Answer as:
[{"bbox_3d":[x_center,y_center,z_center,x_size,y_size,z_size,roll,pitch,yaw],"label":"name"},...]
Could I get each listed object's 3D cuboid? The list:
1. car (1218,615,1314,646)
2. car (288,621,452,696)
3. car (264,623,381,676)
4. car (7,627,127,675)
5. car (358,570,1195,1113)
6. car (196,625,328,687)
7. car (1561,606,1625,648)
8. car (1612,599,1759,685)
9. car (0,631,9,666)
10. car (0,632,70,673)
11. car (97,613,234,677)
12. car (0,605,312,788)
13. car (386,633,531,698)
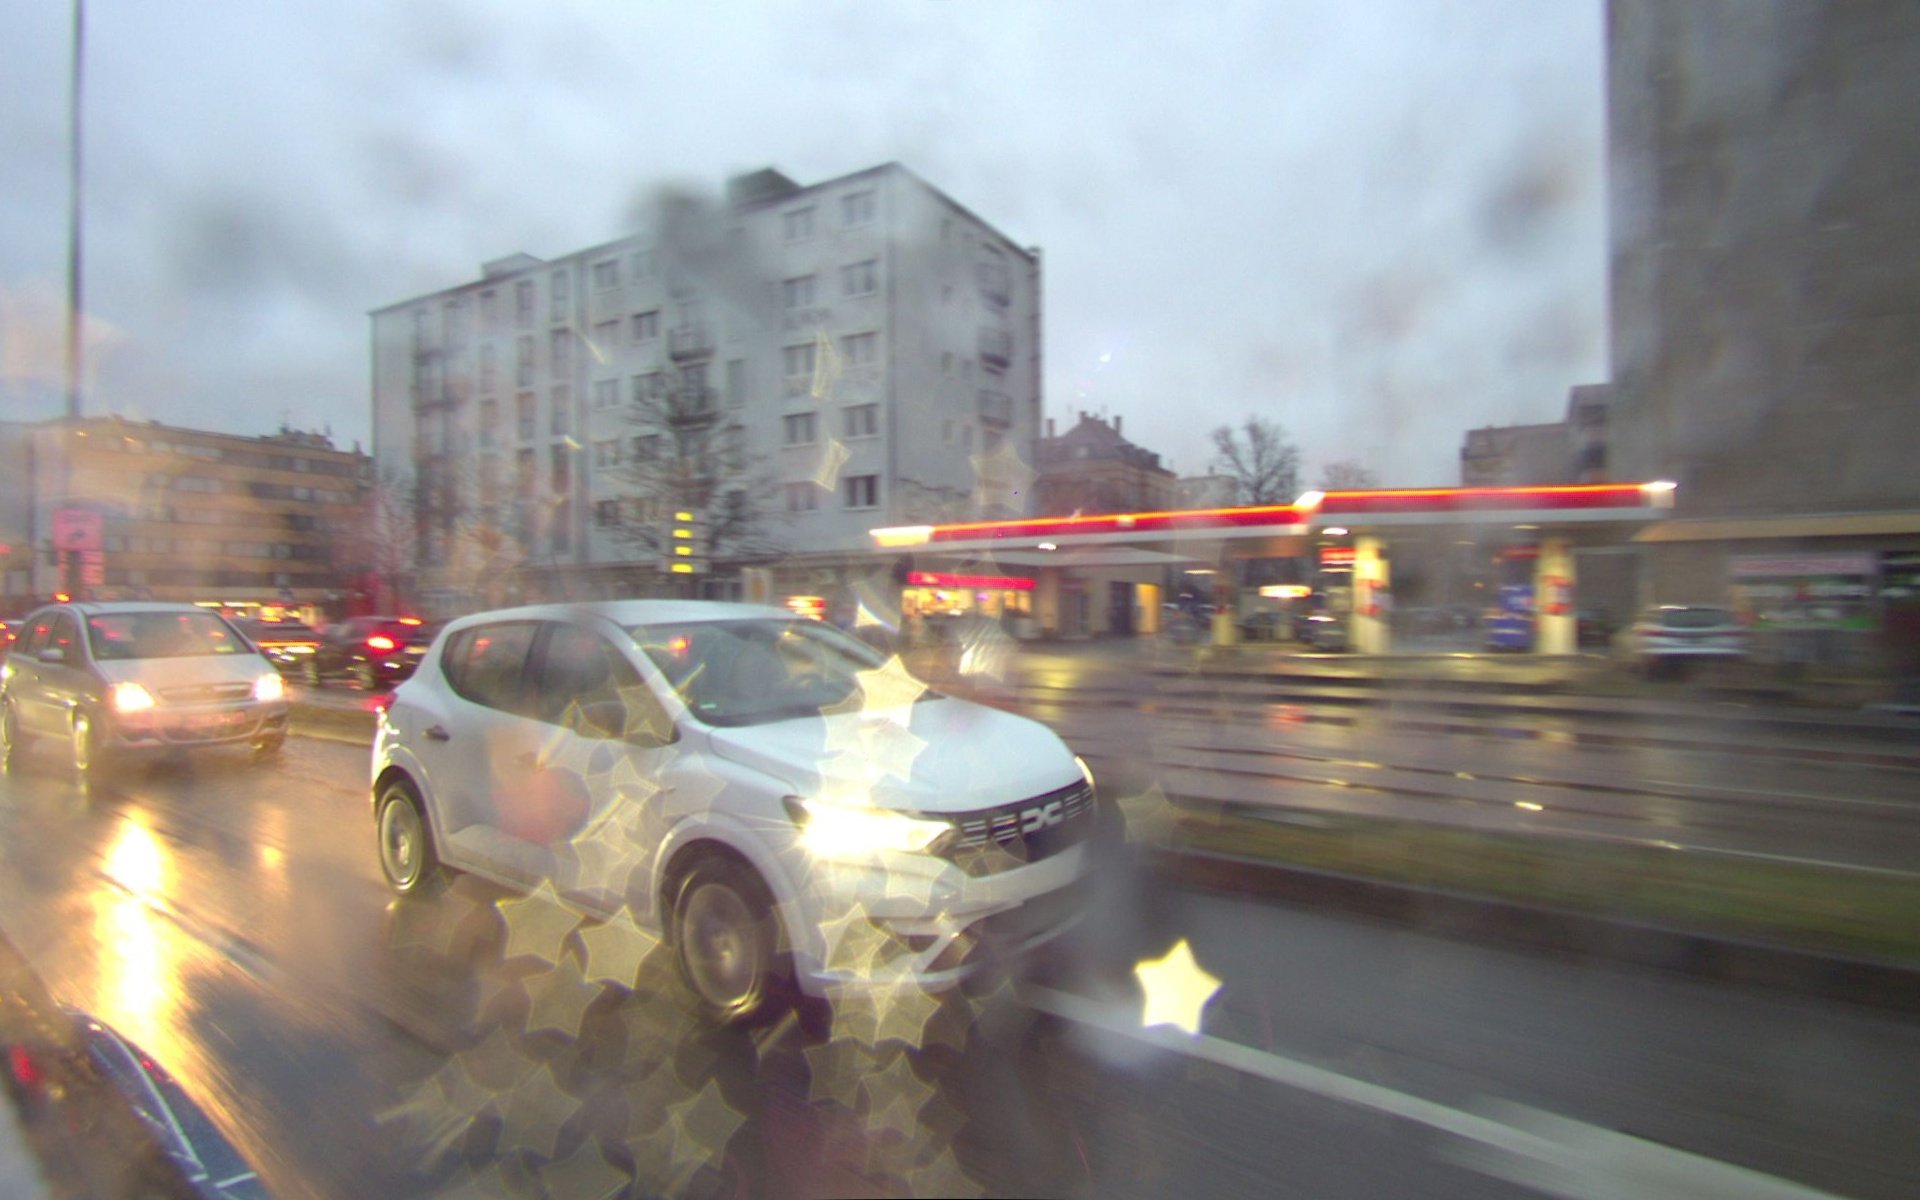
[{"bbox_3d":[14.347,1.429,47.450,3.986,1.391,1.941,-1,-1,31],"label":"car"},{"bbox_3d":[-13.067,1.252,22.347,4.136,1.498,1.630,-2,-2,36],"label":"car"},{"bbox_3d":[-19.011,1.453,30.132,3.992,1.498,1.630,-2,-2,36],"label":"car"},{"bbox_3d":[-30.309,1.705,34.317,4.520,1.526,1.947,-2,-2,33],"label":"car"},{"bbox_3d":[-1.117,0.730,4.701,3.995,1.498,1.610,-2,-2,39],"label":"car"},{"bbox_3d":[-18.271,1.432,26.454,3.992,1.498,1.630,-2,-2,36],"label":"car"},{"bbox_3d":[24.303,1.017,38.955,1.993,1.541,3.958,-1,-1,31],"label":"car"},{"bbox_3d":[14.334,0.788,20.211,1.771,1.542,3.963,-1,-1,27],"label":"car"},{"bbox_3d":[-40.757,1.988,41.242,4.520,1.397,1.947,-2,-2,33],"label":"car"},{"bbox_3d":[-34.952,1.917,37.404,4.520,1.397,1.947,-2,-2,33],"label":"car"},{"bbox_3d":[-24.127,1.354,30.710,4.521,1.796,1.946,-2,-2,34],"label":"car"},{"bbox_3d":[-8.556,0.867,10.508,4.099,1.560,1.631,-1,-1,35],"label":"car"},{"bbox_3d":[-13.145,1.664,26.421,4.272,1.579,1.630,-2,-2,36],"label":"car"}]
